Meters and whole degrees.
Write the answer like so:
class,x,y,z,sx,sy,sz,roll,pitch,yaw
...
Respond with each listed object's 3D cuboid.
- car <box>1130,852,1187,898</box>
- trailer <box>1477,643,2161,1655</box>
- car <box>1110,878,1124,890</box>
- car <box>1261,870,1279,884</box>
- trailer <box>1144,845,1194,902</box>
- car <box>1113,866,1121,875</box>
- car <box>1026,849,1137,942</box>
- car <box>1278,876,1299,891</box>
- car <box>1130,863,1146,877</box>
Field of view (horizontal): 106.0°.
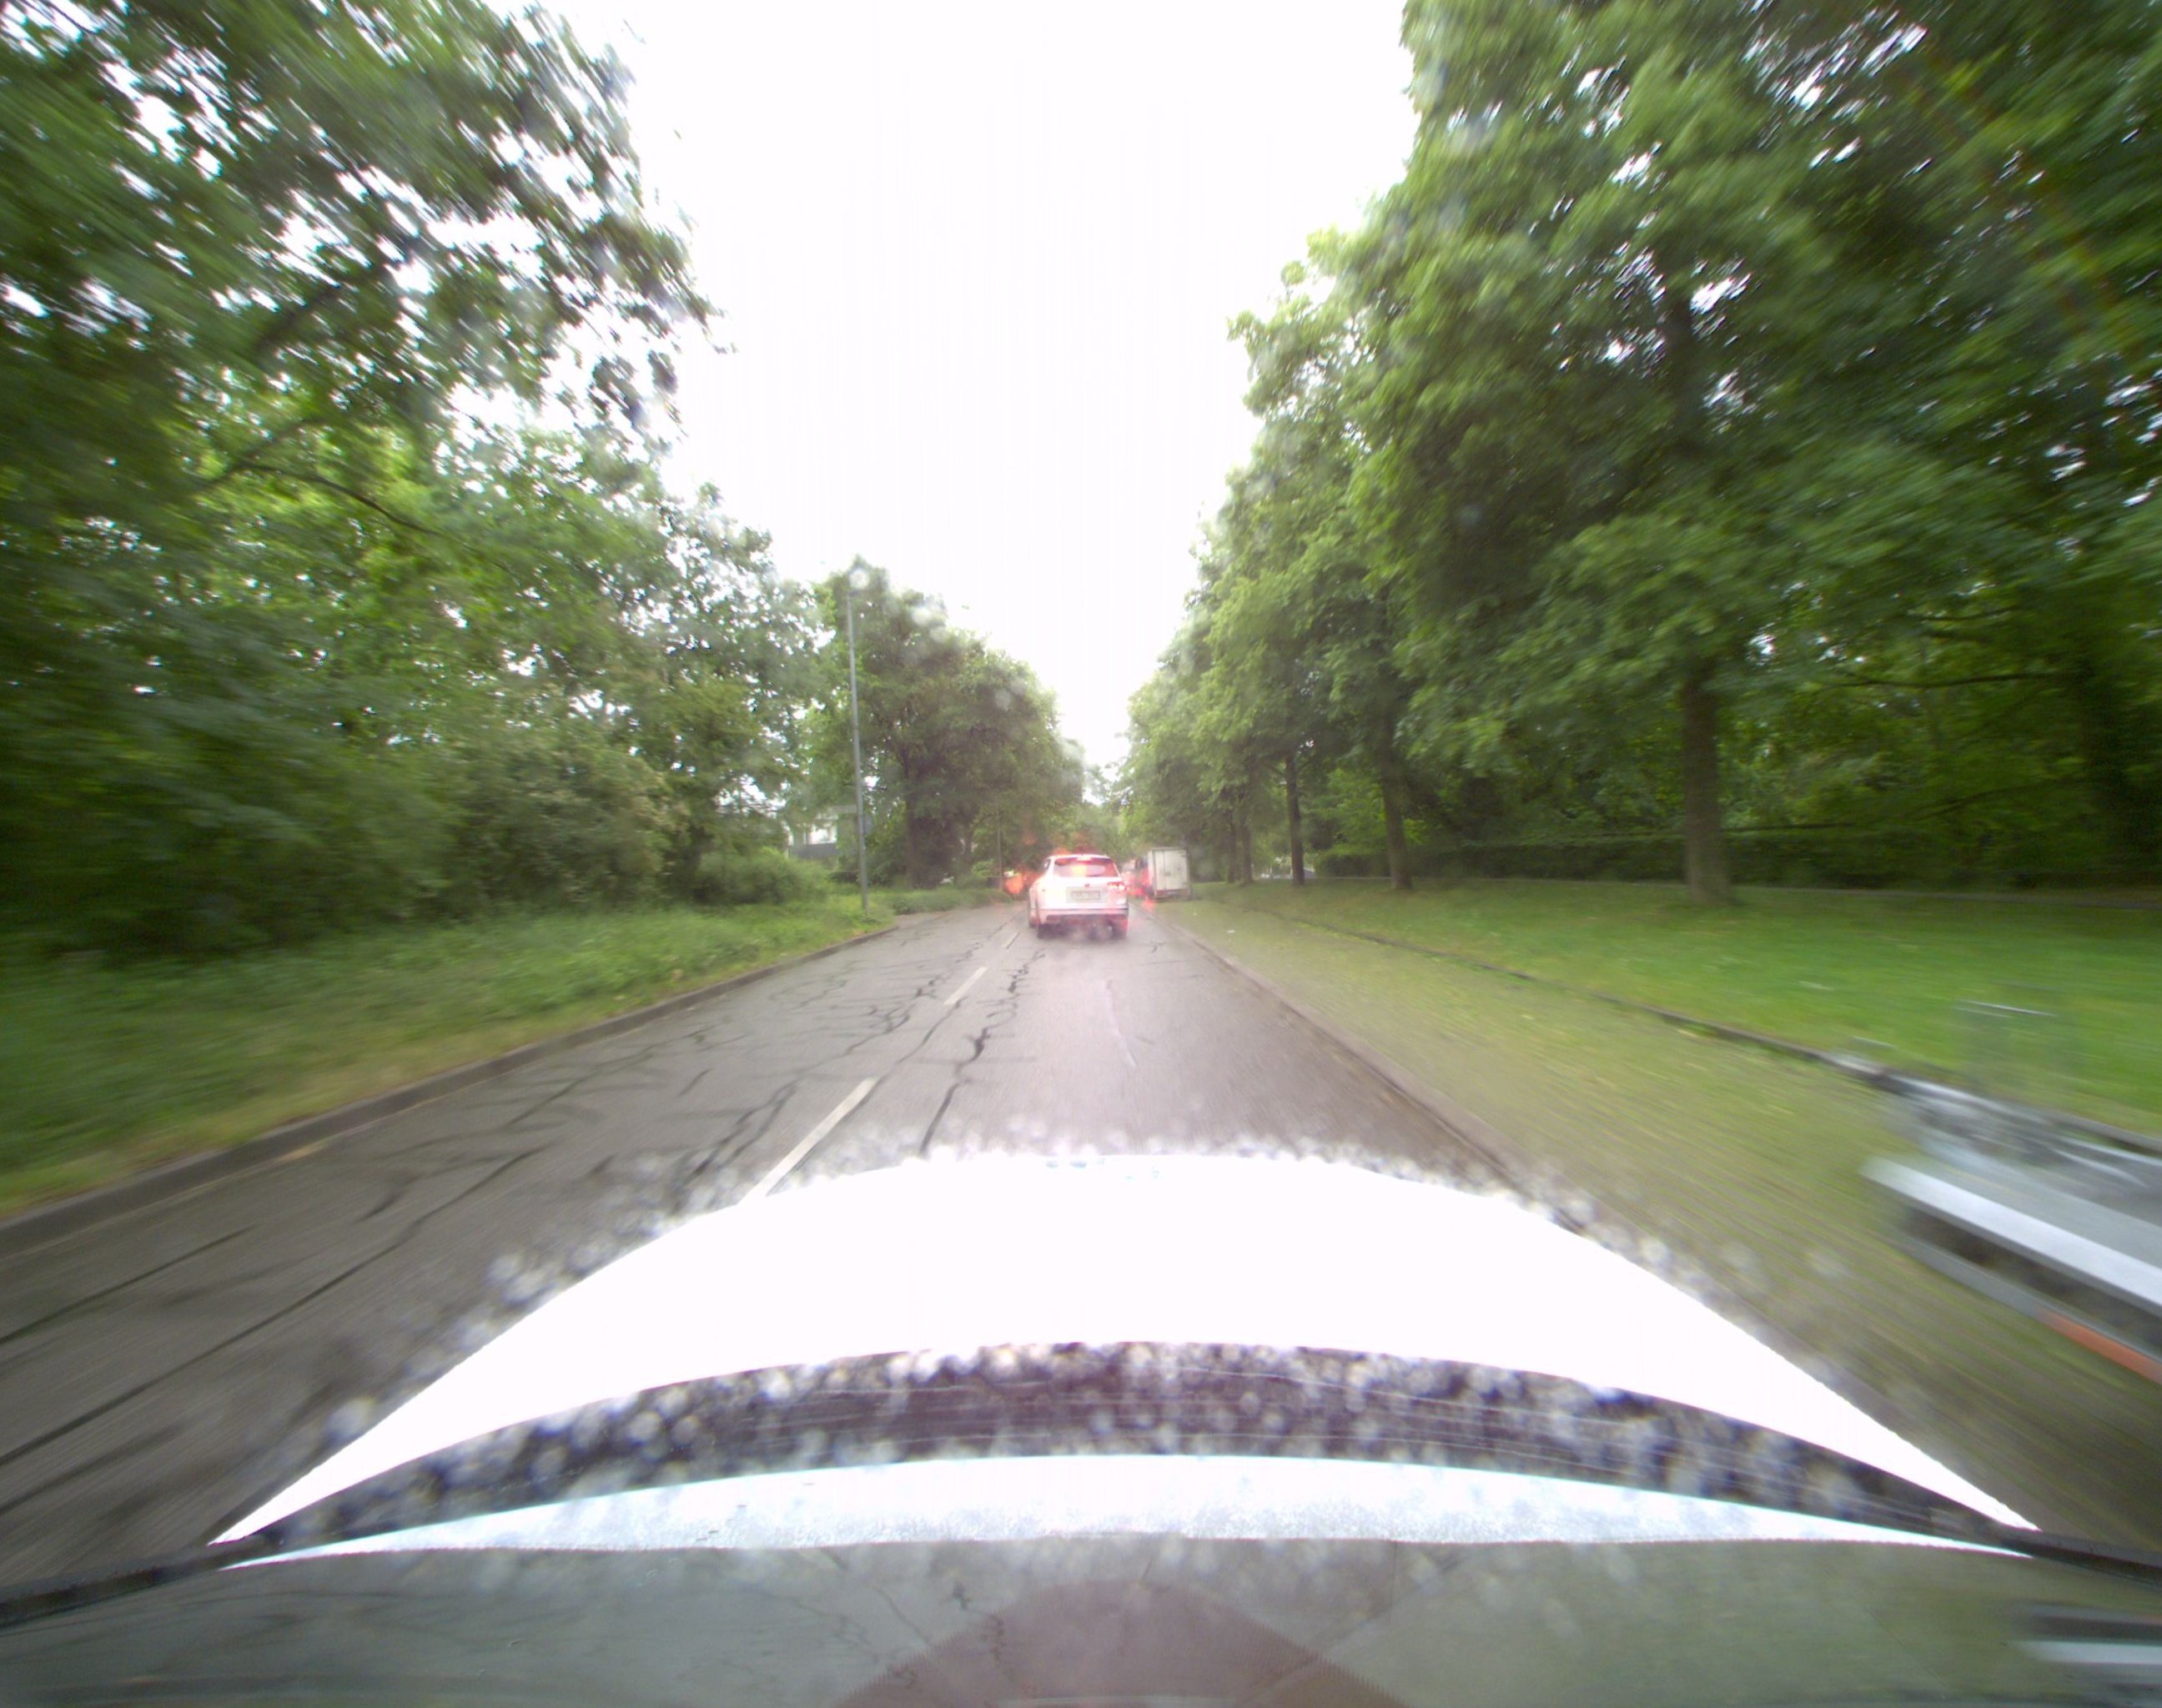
class,x,y,z,sx,sy,sz,roll,pitch,yaw
car,3.481,1.007,37.556,1.988,1.910,5.506,-2,-2,-1
trailer,3.114,0.477,1.002,2.440,1.813,5.893,-3,-1,1
car,5.524,4.690,125.749,1.851,1.692,3.997,-2,-2,-1
car,30.328,3.757,130.908,1.987,2.013,4.000,-3,0,1
trailer,3.472,0.796,32.700,1.525,2.076,3.999,-3,-2,1
car,8.953,4.144,202.778,1.986,2.013,4.003,-2,3,2
car,-0.122,0.830,17.591,1.903,1.685,4.191,-2,-1,-6
car,30.096,4.263,118.302,1.987,2.013,4.000,-3,0,1
car,8.676,2.442,124.106,1.988,2.014,3.997,-2,-3,-1
